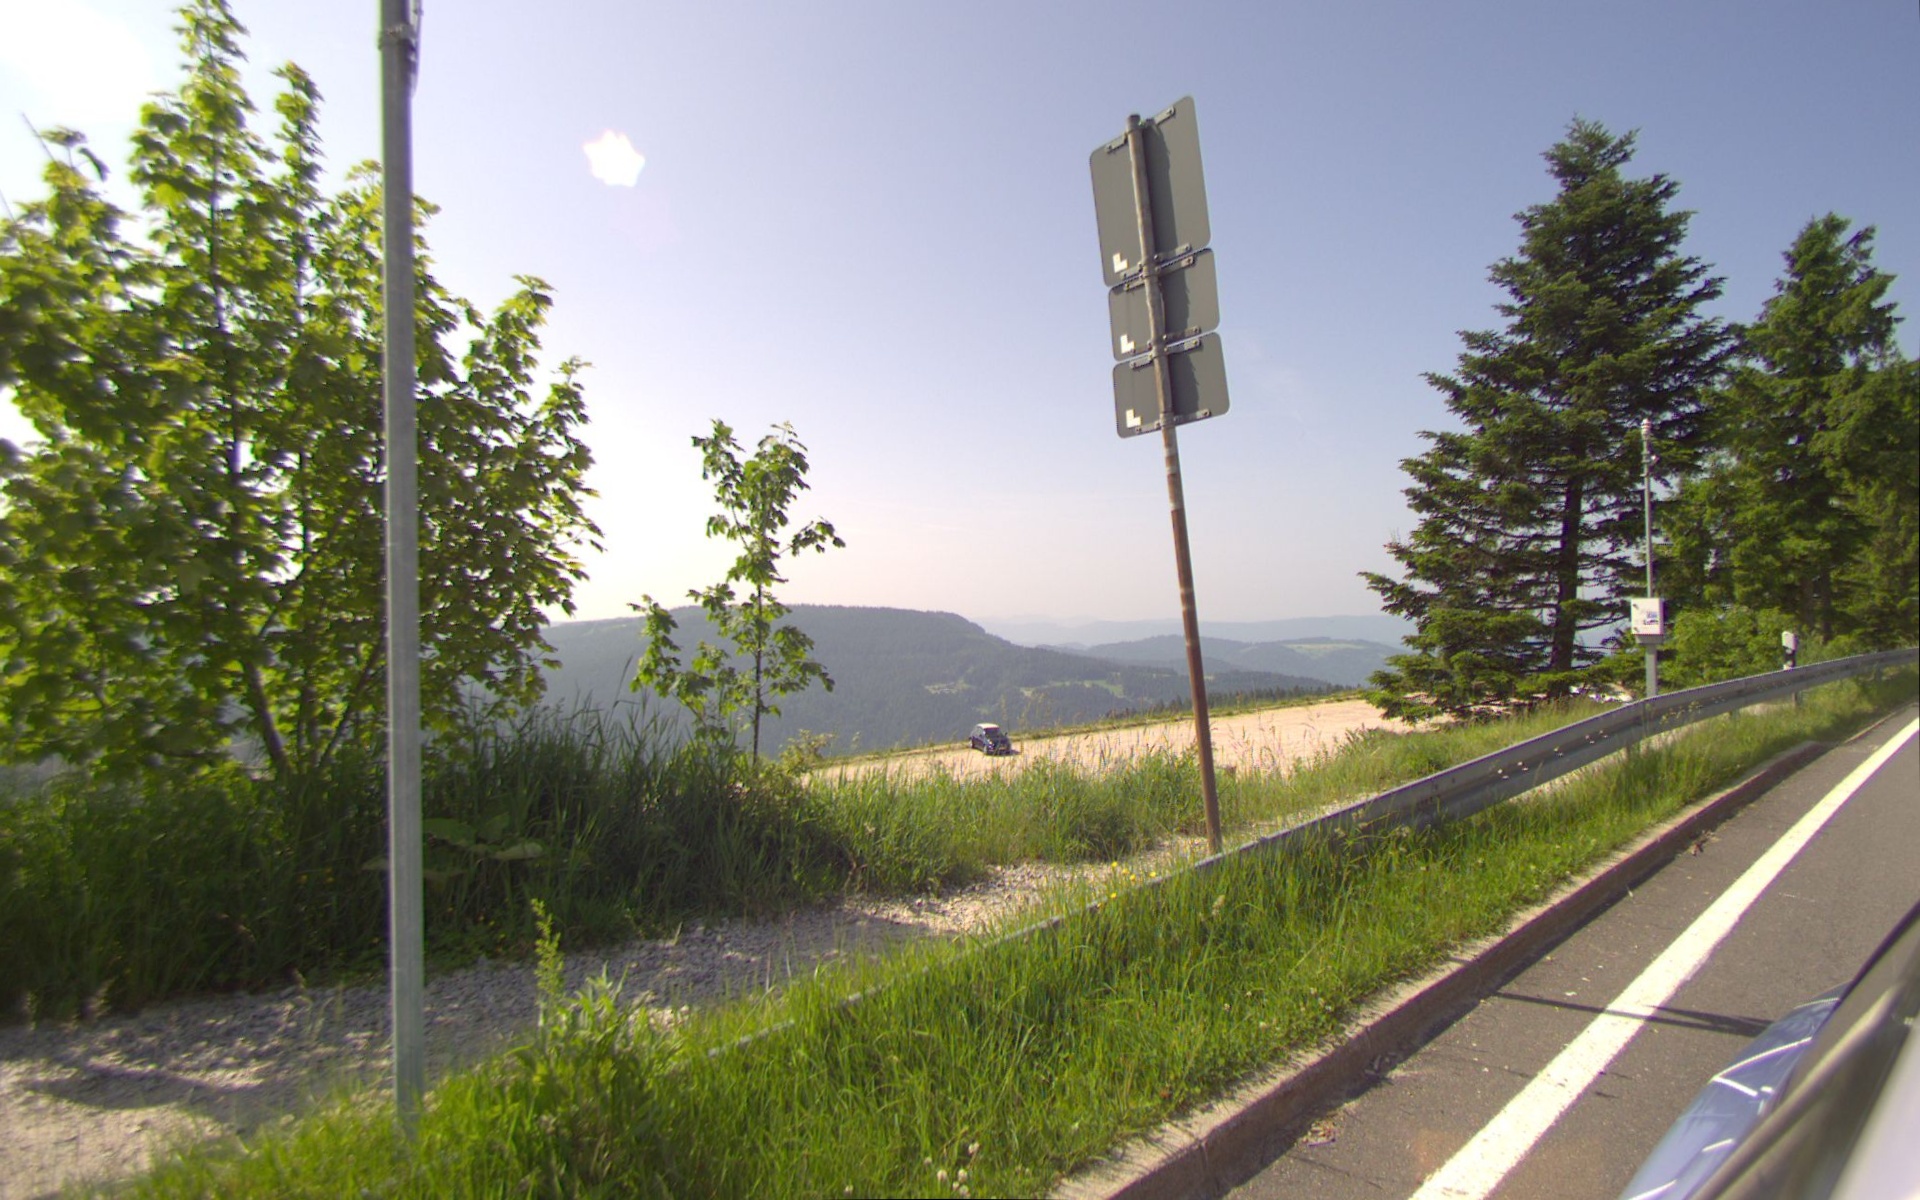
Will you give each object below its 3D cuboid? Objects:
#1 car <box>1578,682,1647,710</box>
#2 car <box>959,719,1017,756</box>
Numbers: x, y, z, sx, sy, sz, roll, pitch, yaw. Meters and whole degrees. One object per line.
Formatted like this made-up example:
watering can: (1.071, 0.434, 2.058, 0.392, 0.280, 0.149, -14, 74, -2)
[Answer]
car: (47.566, 7.002, 73.847, 1.805, 1.616, 3.784, -2, 0, -25)
car: (1.626, 8.067, 59.757, 1.766, 1.687, 3.525, 1, -1, -33)
